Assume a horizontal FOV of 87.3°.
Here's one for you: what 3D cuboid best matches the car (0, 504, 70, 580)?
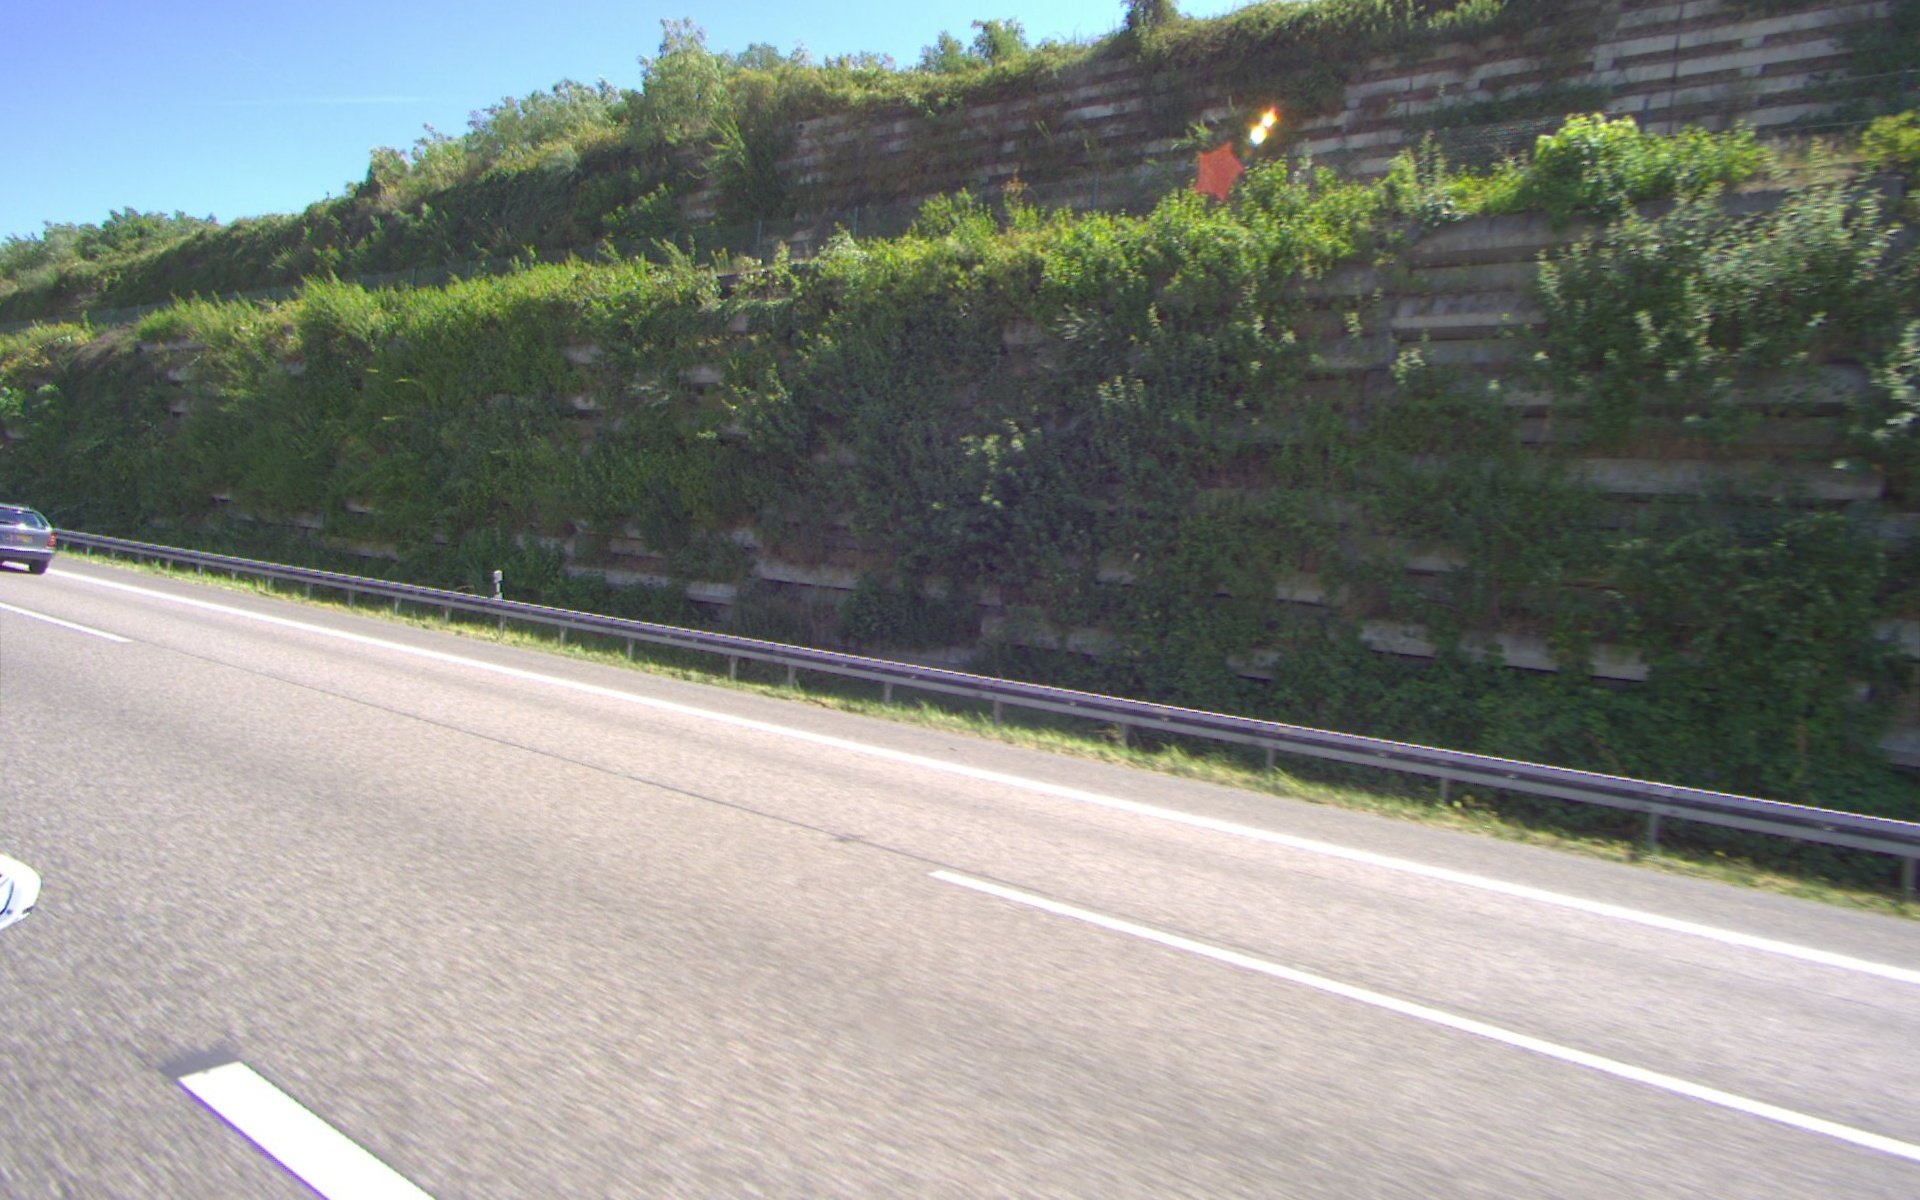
[{"bbox_3d":[-21.717,-1.442,22.262,4.378,1.445,1.687,6,-1,31],"label":"car"}]
